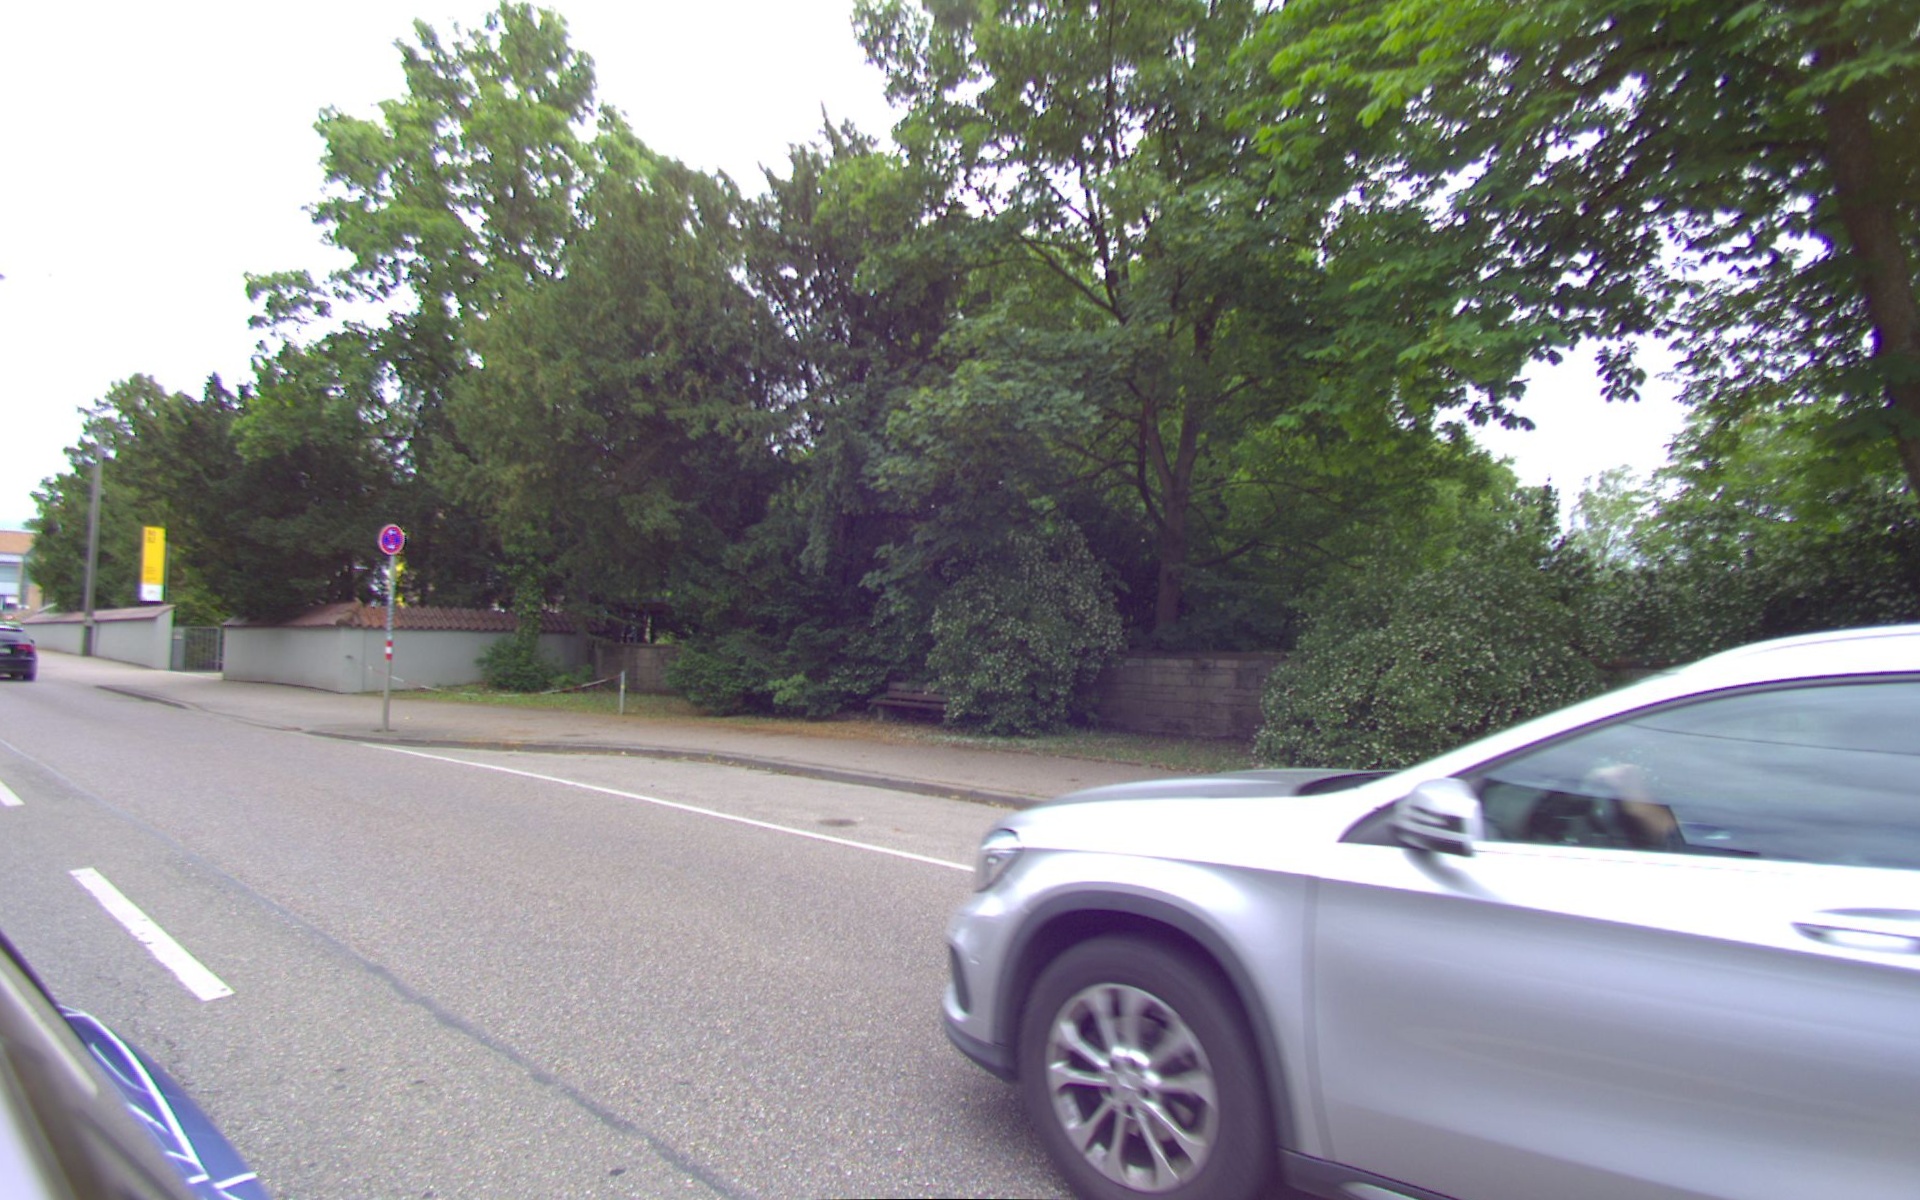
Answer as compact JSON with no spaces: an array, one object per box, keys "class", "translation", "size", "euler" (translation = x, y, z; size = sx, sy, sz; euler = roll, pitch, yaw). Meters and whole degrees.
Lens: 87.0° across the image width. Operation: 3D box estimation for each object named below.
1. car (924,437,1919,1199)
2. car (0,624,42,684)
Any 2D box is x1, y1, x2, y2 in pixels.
[{"class":"car","translation":[2.071,0.653,2.098],"size":[4.117,1.666,1.767],"euler":[-1,-5,40]},{"class":"car","translation":[-25.566,1.351,26.399],"size":[4.109,1.464,1.840],"euler":[-1,-5,41]}]
